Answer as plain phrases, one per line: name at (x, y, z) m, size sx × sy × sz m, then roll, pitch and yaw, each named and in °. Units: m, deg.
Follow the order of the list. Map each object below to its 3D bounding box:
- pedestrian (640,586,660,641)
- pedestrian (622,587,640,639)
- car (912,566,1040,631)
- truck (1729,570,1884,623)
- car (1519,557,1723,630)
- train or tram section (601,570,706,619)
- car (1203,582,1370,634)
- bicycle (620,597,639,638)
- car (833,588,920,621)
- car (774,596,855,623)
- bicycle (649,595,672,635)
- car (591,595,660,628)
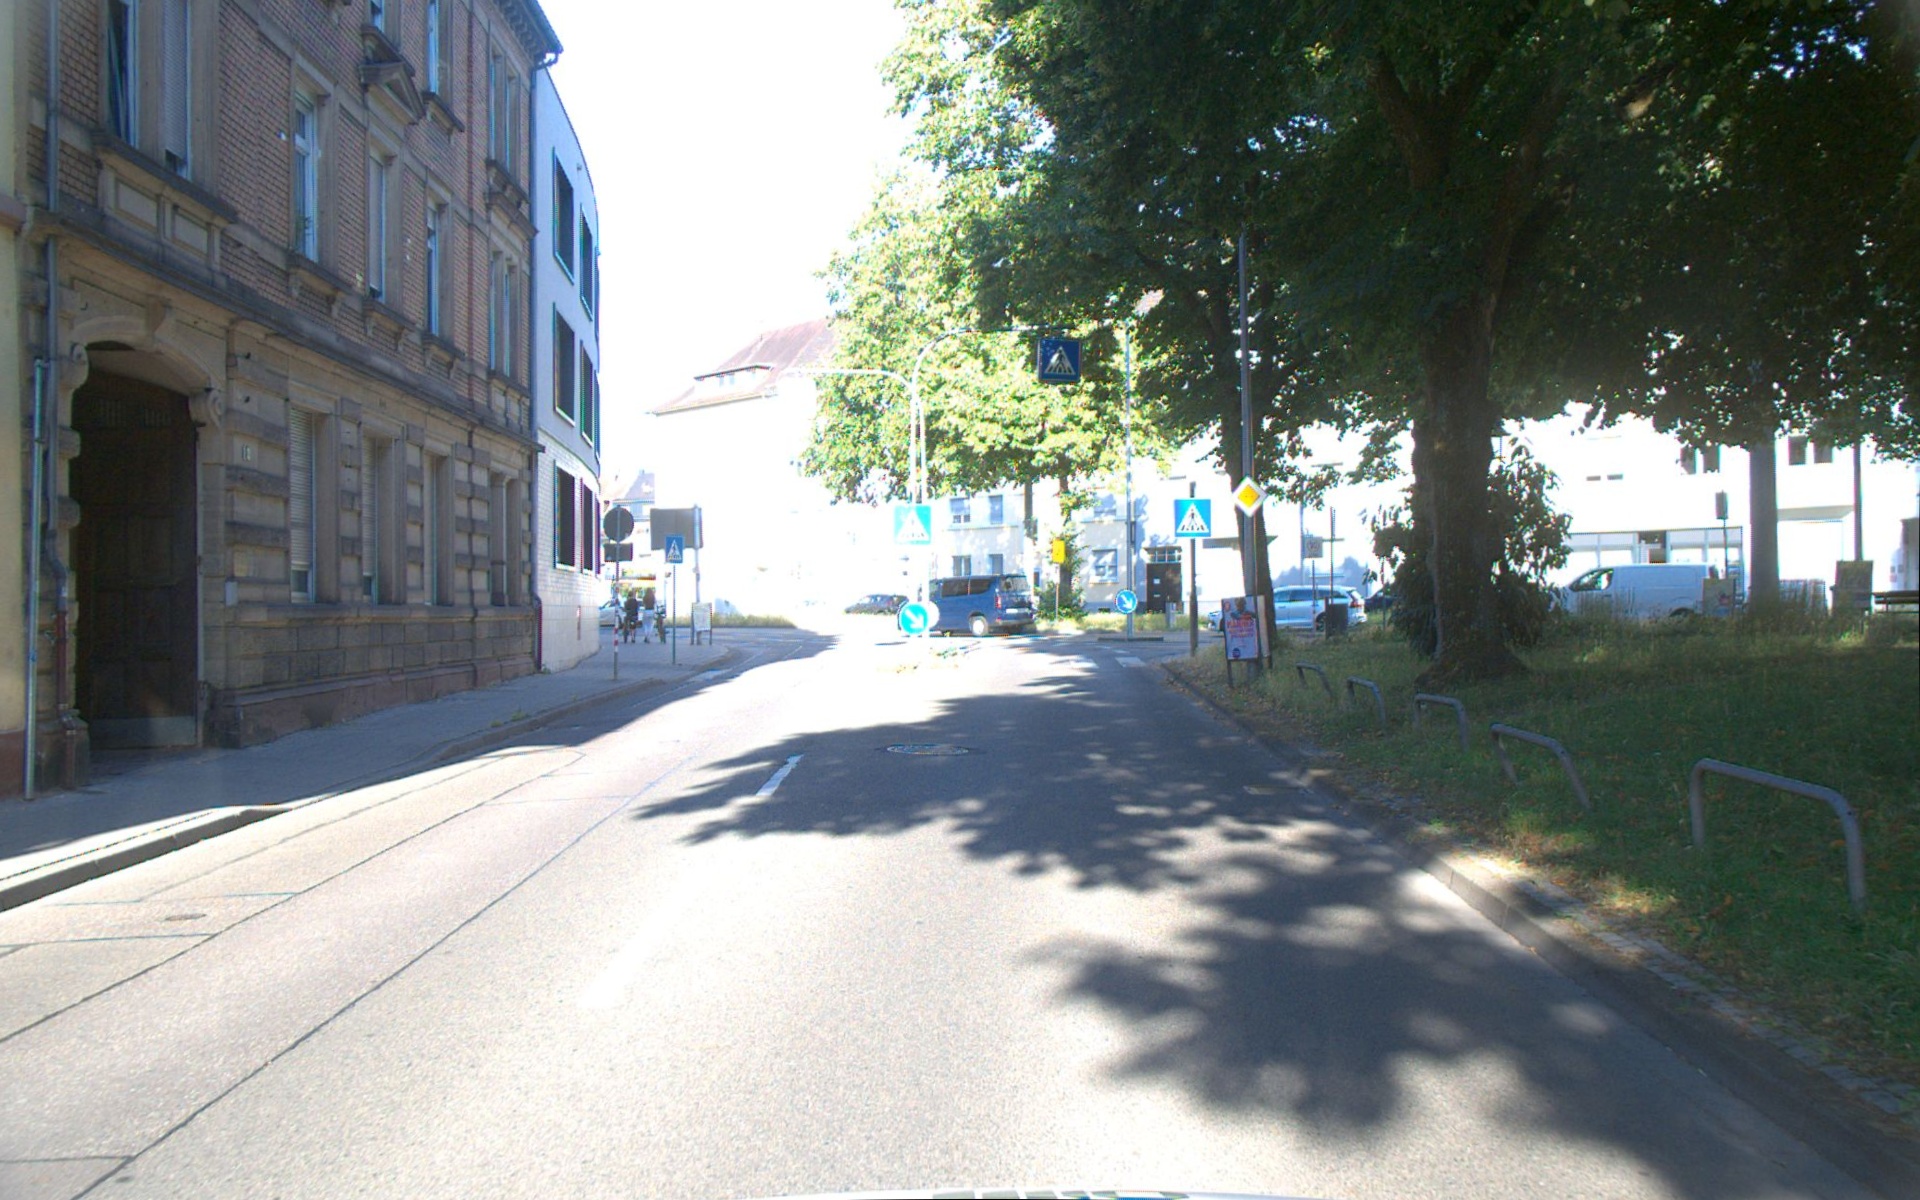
pedestrian at (-9.521, 0.414, 50.758) m, size 0.467 × 1.676 × 0.599 m, roll -1°, pitch 0°, yaw -19°
pedestrian at (-10.107, 0.405, 50.748) m, size 0.467 × 1.592 × 0.599 m, roll 0°, pitch 0°, yaw -19°
car at (0.504, -0.054, 54.412) m, size 3.932 × 2.049 × 1.986 m, roll 0°, pitch 0°, yaw 44°
truck at (27.075, -0.122, 52.992) m, size 1.985 × 1.613 × 4.031 m, roll -1°, pitch 1°, yaw -44°
car at (17.838, -0.188, 44.715) m, size 4.802 × 1.886 × 1.993 m, roll 0°, pitch 1°, yaw 35°
train or tram section at (-23.358, -0.404, 126.729) m, size 2.720 × 3.618 × 9.913 m, roll -1°, pitch 0°, yaw 25°
car at (9.781, 0.223, 49.478) m, size 4.658 × 1.489 × 1.855 m, roll 0°, pitch 1°, yaw 21°
bicycle at (-10.125, 0.524, 50.624) m, size 0.370 × 1.187 × 1.828 m, roll -2°, pitch 1°, yaw -17°
car at (-4.356, 0.254, 85.944) m, size 1.985 × 1.599 × 4.565 m, roll -1°, pitch 0°, yaw -44°
car at (-7.899, 0.494, 89.718) m, size 4.368 × 1.410 × 1.988 m, roll 0°, pitch 1°, yaw 43°
bicycle at (-9.186, 0.453, 50.715) m, size 0.433 × 1.199 × 1.956 m, roll 0°, pitch 0°, yaw -19°
car at (-16.291, 0.569, 80.475) m, size 1.944 × 1.531 × 3.636 m, roll -2°, pitch 1°, yaw -37°
